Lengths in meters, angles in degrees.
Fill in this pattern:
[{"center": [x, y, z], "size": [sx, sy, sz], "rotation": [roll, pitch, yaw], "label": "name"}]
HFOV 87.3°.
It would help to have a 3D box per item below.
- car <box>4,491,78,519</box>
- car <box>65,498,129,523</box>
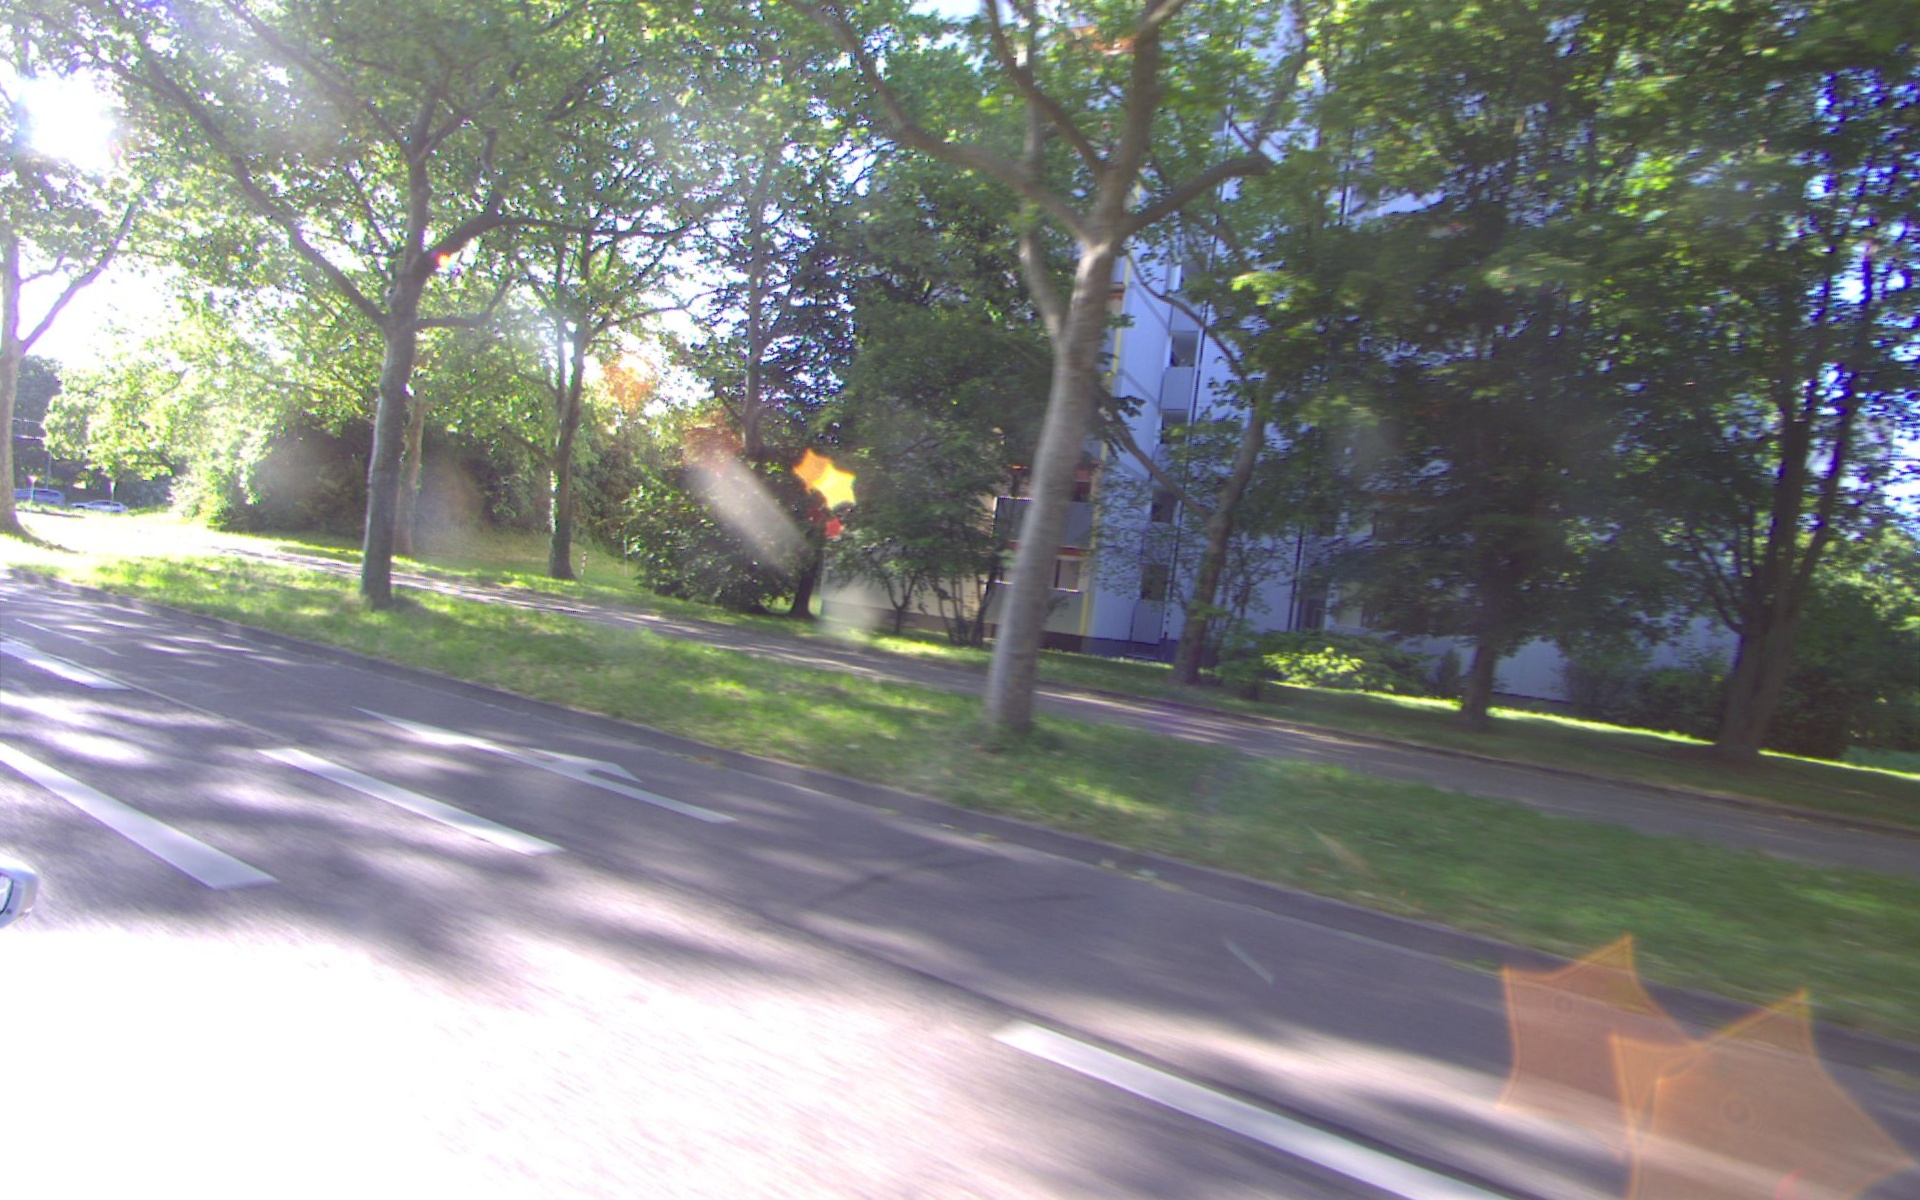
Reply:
[{"center": [-78.563, -8.095, 86.074], "size": [4.326, 1.577, 1.856], "rotation": [9, -2, -34], "label": "car"}, {"center": [-77.325, -8.011, 90.233], "size": [3.961, 1.513, 1.846], "rotation": [9, -2, -32], "label": "car"}]
